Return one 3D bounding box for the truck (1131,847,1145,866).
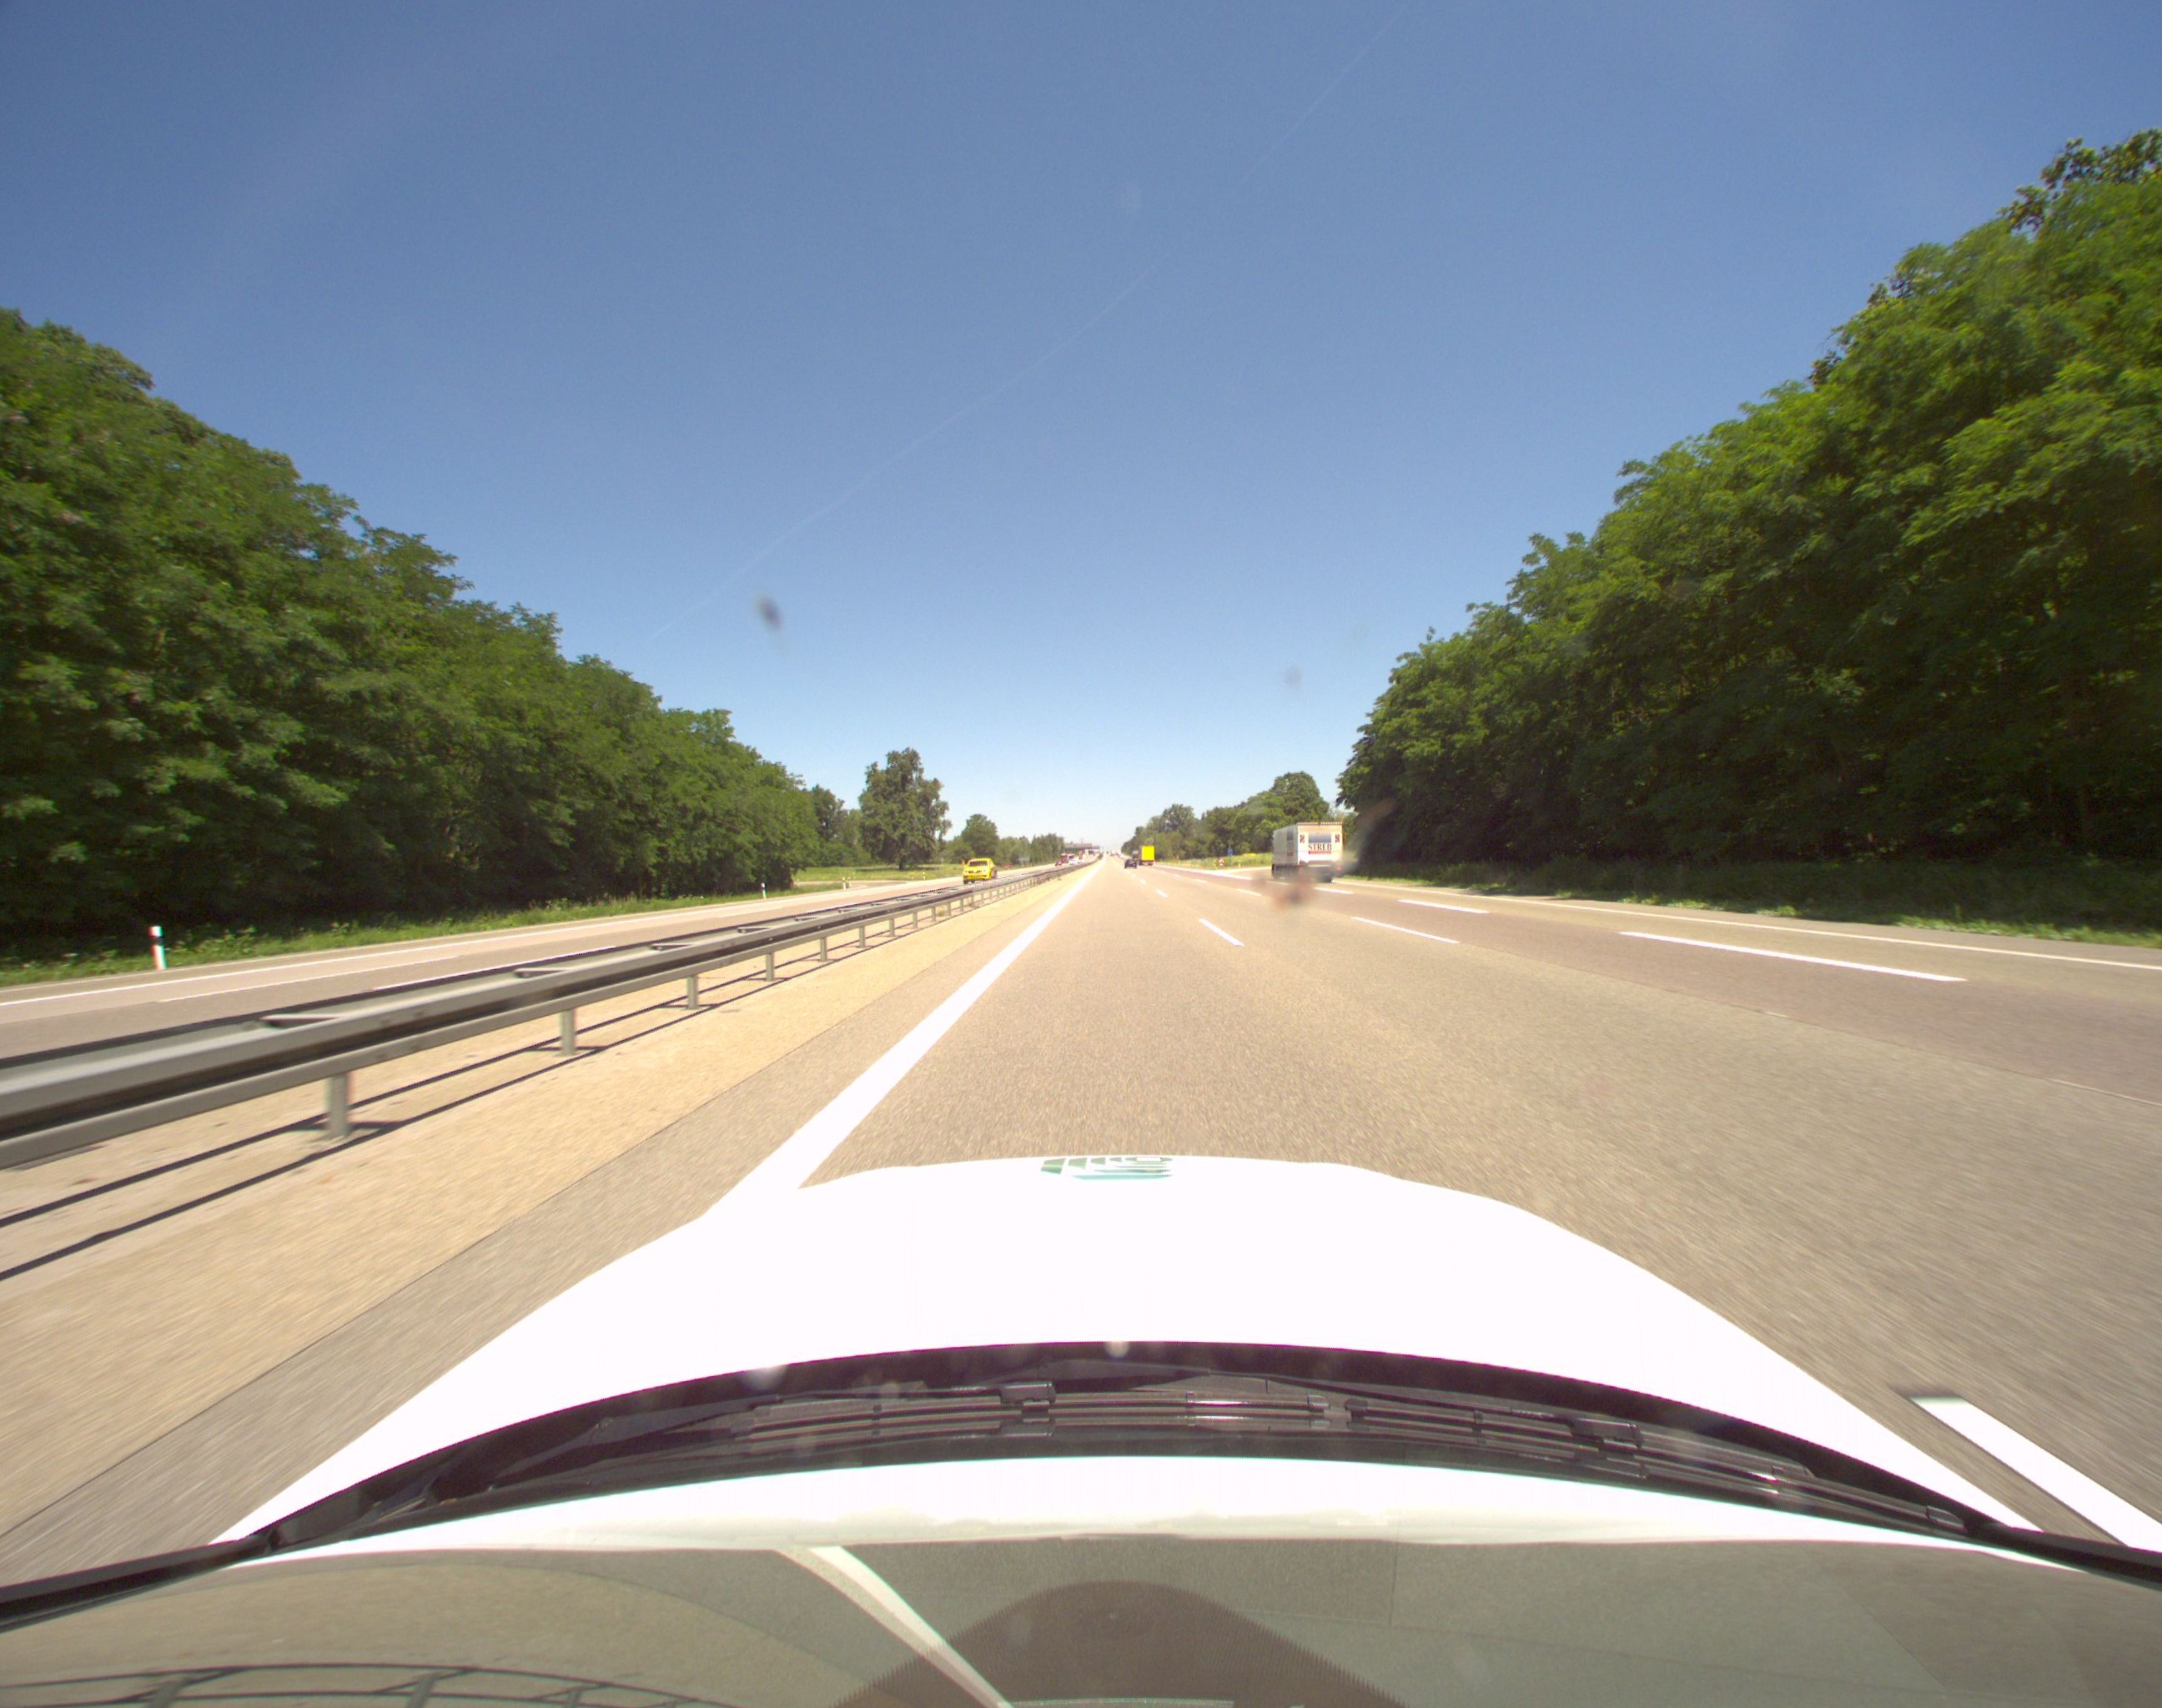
[{"bbox_3d":[15.354,0.764,221.169,3.353,4.881,15.096,0,0,3],"label":"truck"}]

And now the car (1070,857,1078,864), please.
[{"bbox_3d":[-1.906,1.709,219.626,1.756,1.692,4.821,-2,0,2],"label":"car"}]

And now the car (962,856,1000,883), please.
[{"bbox_3d":[-7.418,1.124,60.968,1.986,1.964,5.213,0,0,2],"label":"car"}]

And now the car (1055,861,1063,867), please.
[{"bbox_3d":[-6.132,2.692,226.172,1.756,1.495,4.076,-3,0,2],"label":"car"}]

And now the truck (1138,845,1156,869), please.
[{"bbox_3d":[14.090,0.601,175.483,3.363,4.881,15.096,0,0,3],"label":"truck"}]

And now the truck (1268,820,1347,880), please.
[{"bbox_3d":[13.912,-0.195,51.025,3.013,3.319,10.789,0,0,6],"label":"truck"}]

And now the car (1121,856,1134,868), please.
[{"bbox_3d":[6.983,1.184,121.793,1.820,1.706,4.001,0,0,2],"label":"car"}]
